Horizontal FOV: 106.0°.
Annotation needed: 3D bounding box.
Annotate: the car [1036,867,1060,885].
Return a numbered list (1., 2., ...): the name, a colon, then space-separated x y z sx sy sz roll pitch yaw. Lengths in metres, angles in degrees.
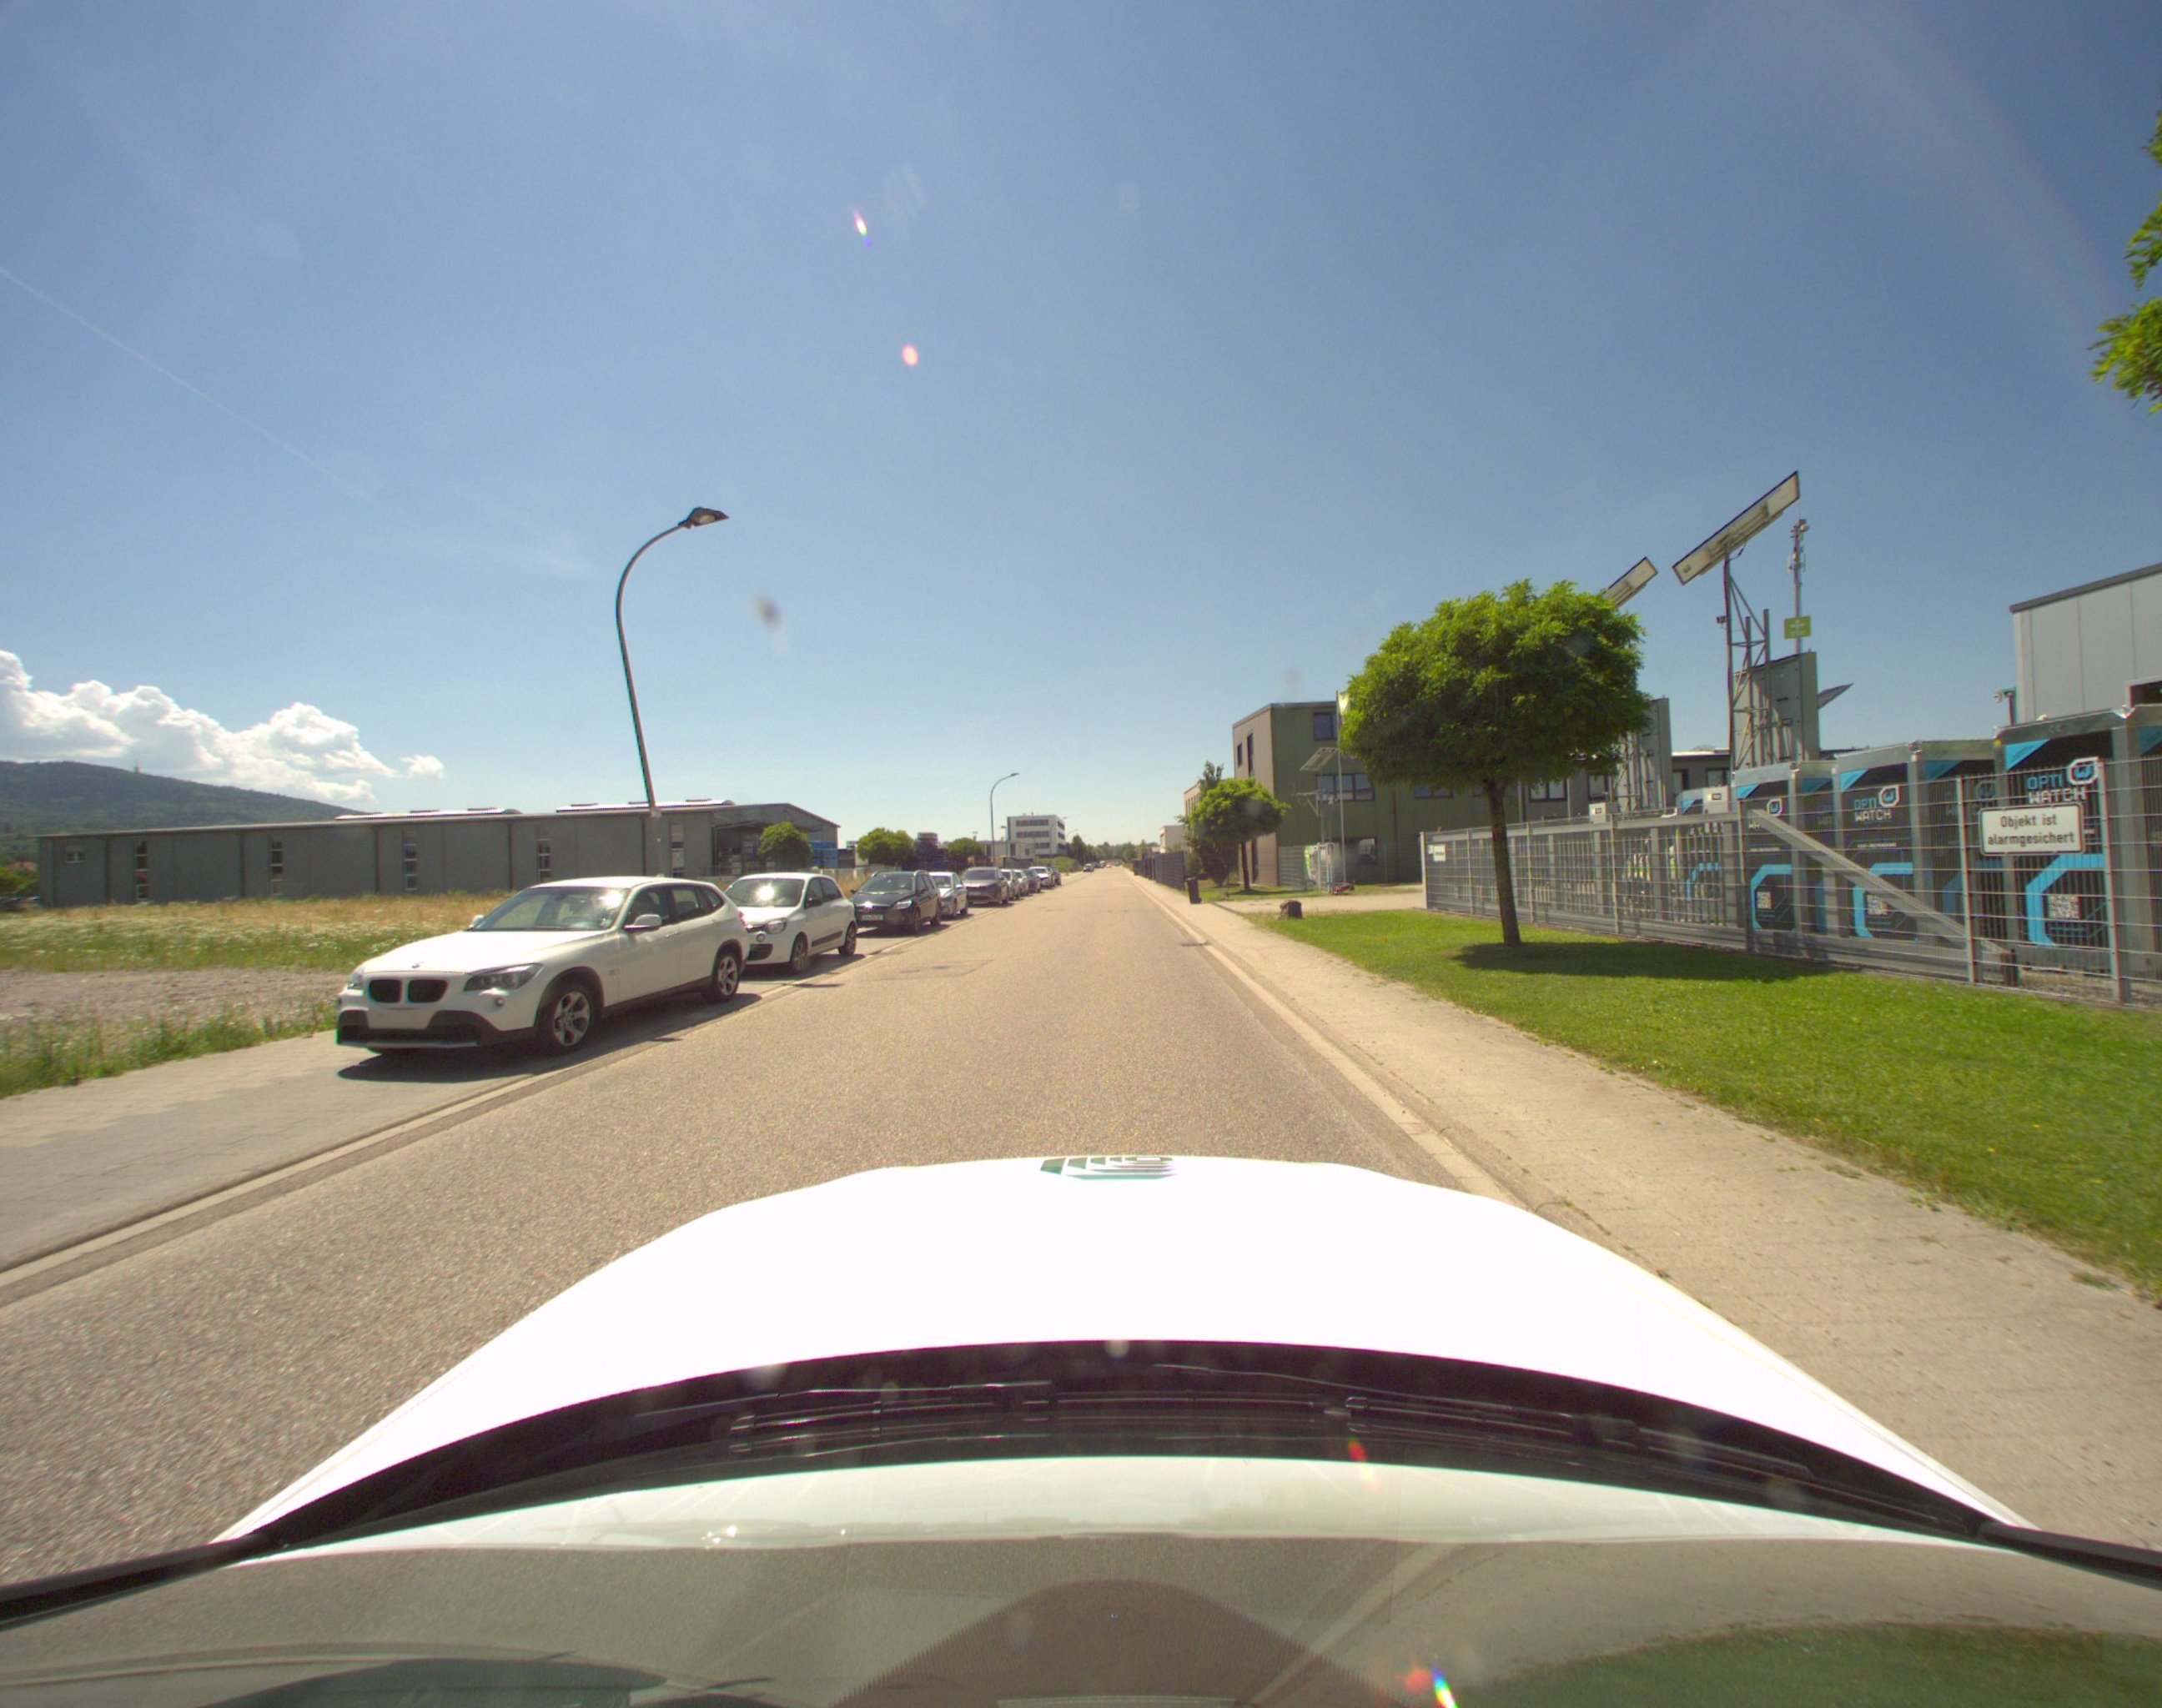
1. car: -2.856 1.893 70.928 1.762 1.461 4.335 -1 -1 2

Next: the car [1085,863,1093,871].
1. car: 1.643 2.636 165.615 1.461 1.490 3.209 -2 -1 3

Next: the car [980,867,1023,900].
1. car: -3.916 1.423 40.564 1.687 1.525 3.736 -1 -1 1

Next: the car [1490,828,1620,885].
1. car: 18.521 0.083 32.183 1.985 1.996 5.658 -2 0 2

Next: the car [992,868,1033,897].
1. car: -3.807 1.559 45.901 1.768 1.481 4.817 -1 -1 1

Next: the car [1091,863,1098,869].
1. car: 3.695 3.162 220.585 1.638 1.490 3.209 -2 -1 3

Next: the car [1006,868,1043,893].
1. car: -3.506 1.623 50.998 1.850 1.481 4.231 -1 -1 2

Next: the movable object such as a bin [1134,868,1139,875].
1. movable object such as a bin: 7.993 2.470 117.537 0.549 0.928 0.523 -6 0 6

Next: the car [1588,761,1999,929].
1. car: 13.335 -0.101 16.266 2.121 2.494 7.029 -4 -1 2

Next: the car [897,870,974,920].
1. car: -4.660 1.263 26.601 1.758 1.451 4.199 -1 -1 -1

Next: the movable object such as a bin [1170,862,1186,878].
1. movable object such as a bin: 8.968 1.480 75.644 1.329 1.459 0.949 -3 -1 1

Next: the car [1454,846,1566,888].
1. car: 16.324 0.455 31.288 1.986 1.438 4.615 -2 0 2

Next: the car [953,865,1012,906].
1. car: -4.070 1.279 34.367 1.784 1.607 4.464 -1 -1 1

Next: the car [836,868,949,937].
1. car: -4.714 1.159 21.005 1.756 1.517 4.381 -1 -1 2

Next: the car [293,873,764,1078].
1. car: -5.256 1.022 8.648 1.779 1.542 4.369 -1 -1 4

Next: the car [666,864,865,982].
1. car: -5.097 1.028 13.756 1.780 1.656 3.769 -1 -1 1

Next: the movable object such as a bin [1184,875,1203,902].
1. movable object such as a bin: 4.042 1.236 29.169 0.548 0.928 0.523 -6 -2 12

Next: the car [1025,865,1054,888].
1. car: -3.022 1.652 59.908 1.762 1.592 4.360 -1 -1 1
